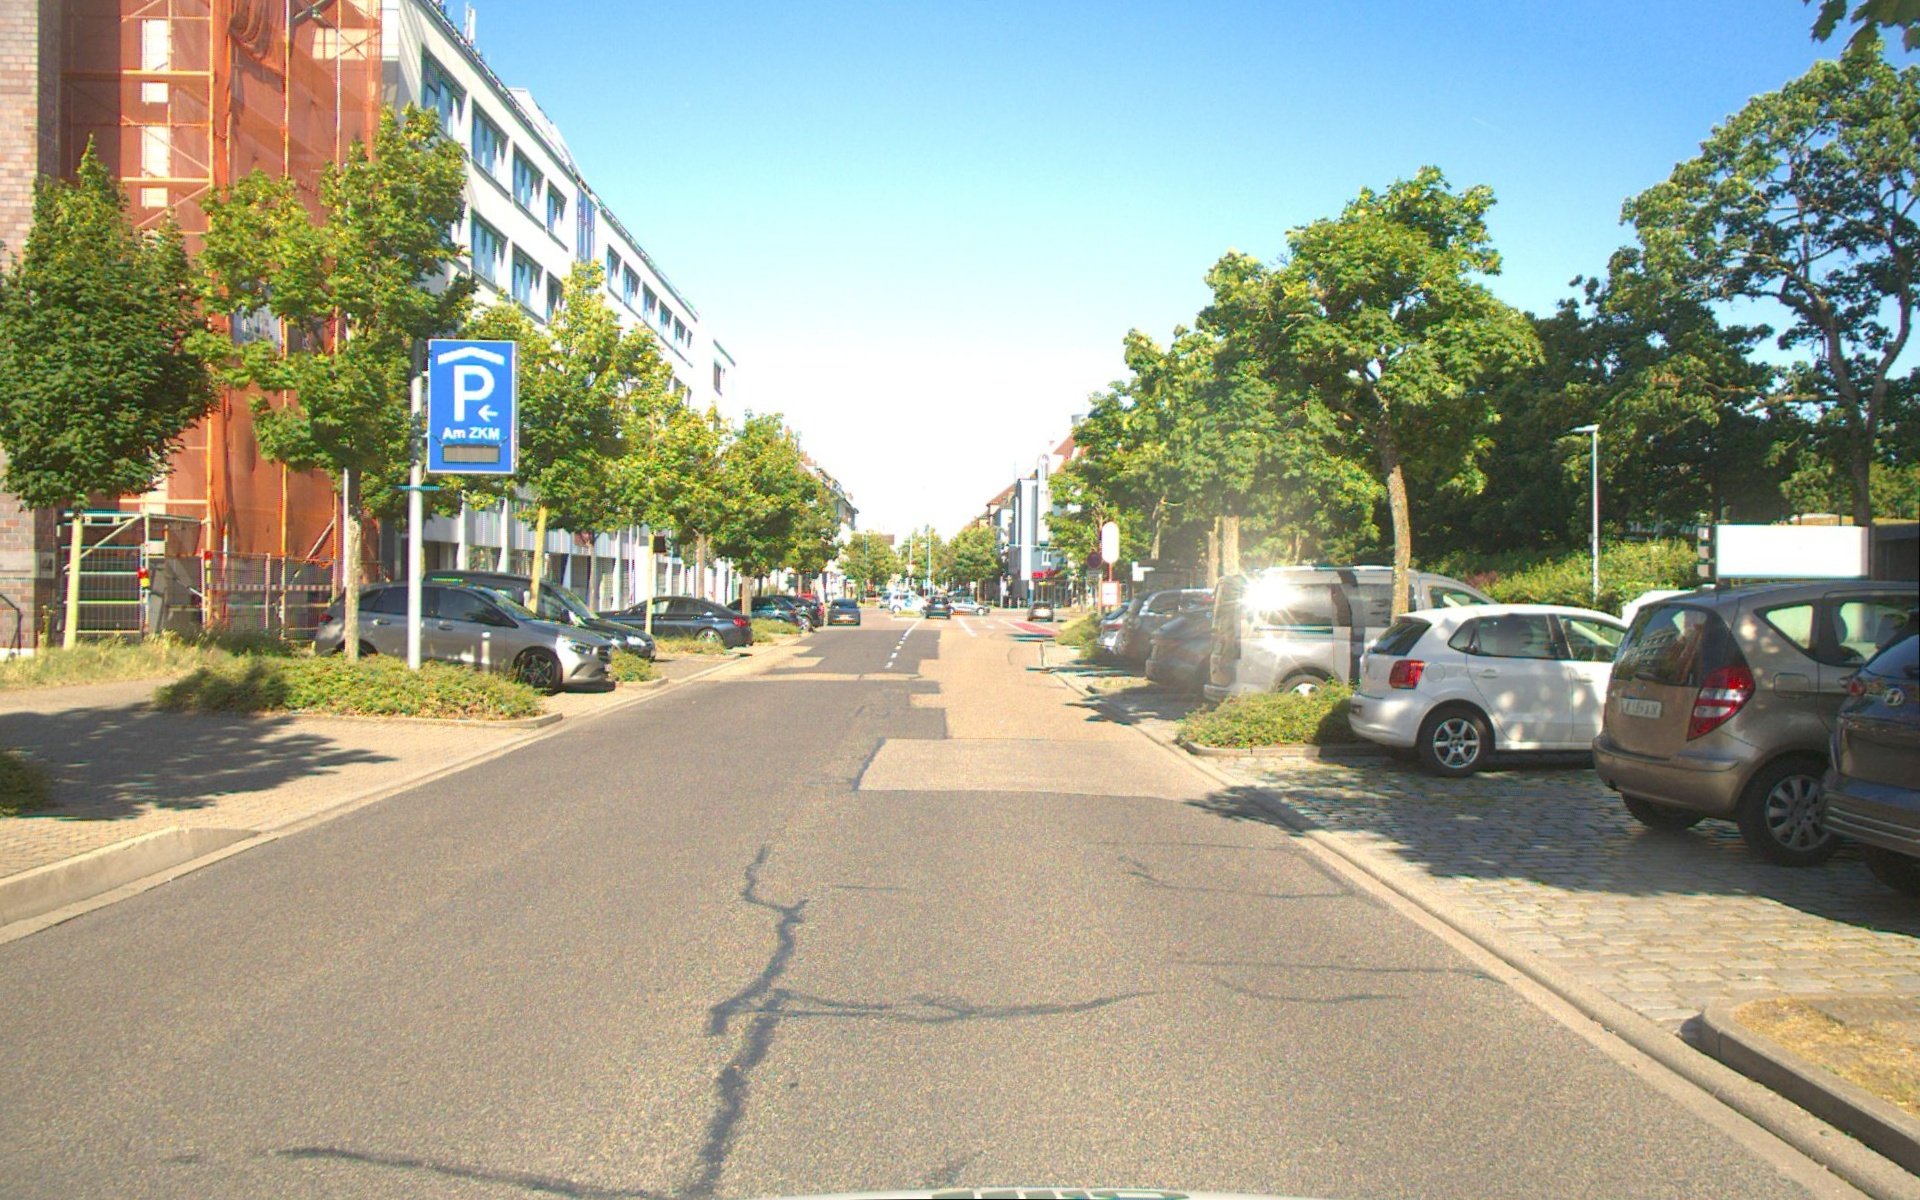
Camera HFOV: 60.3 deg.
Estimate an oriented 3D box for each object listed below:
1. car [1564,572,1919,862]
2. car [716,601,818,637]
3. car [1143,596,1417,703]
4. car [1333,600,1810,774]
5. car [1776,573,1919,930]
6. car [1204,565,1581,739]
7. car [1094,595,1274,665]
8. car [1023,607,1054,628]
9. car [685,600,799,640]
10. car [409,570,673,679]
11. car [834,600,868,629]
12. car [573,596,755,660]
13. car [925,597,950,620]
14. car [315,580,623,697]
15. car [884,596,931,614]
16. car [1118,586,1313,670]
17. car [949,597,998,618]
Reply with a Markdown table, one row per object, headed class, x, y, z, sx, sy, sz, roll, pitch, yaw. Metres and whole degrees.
| class | x | y | z | sx | sy | sz | roll | pitch | yaw |
| --- | --- | --- | --- | --- | --- | --- | --- | --- | --- |
| car | 6.053 | 0.652 | 10.229 | 3.905 | 1.610 | 2.031 | 0 | 0 | -1 |
| car | -8.349 | 0.815 | 71.697 | 4.243 | 1.500 | 1.817 | 0 | 1 | -2 |
| car | 4.710 | 0.709 | 24.790 | 3.831 | 1.500 | 1.796 | 0 | 1 | 3 |
| car | 5.453 | 0.744 | 15.086 | 3.689 | 1.485 | 1.817 | 0 | 0 | -2 |
| car | 6.160 | 0.666 | 7.607 | 3.905 | 1.565 | 1.861 | 0 | -1 | -1 |
| car | 4.884 | 0.549 | 19.037 | 3.905 | 1.912 | 1.682 | 0 | 1 | -1 |
| car | 4.910 | 0.664 | 36.609 | 3.831 | 1.500 | 1.758 | 0 | -1 | 3 |
| car | 5.823 | 1.290 | 123.397 | 1.949 | 1.500 | 4.108 | 0 | 1 | -3 |
| car | -8.528 | 0.789 | 64.901 | 4.243 | 1.500 | 1.817 | 0 | 1 | -2 |
| car | -7.449 | 0.405 | 29.665 | 4.242 | 1.894 | 1.818 | 0 | 1 | 0 |
| car | -6.065 | 0.799 | 92.190 | 1.775 | 1.500 | 4.109 | 0 | 1 | -2 |
| car | -7.276 | 0.680 | 40.975 | 4.246 | 1.500 | 1.816 | 0 | 1 | -5 |
| car | -1.603 | 0.609 | 119.319 | 1.774 | 1.500 | 4.111 | 0 | 1 | 0 |
| car | -7.361 | 0.551 | 25.062 | 4.176 | 1.694 | 1.599 | 0 | 1 | -2 |
| car | -4.492 | 0.456 | 141.273 | 4.014 | 1.500 | 1.817 | 0 | 1 | -2 |
| car | 5.226 | 0.550 | 34.264 | 3.831 | 1.671 | 1.878 | 0 | 1 | 3 |
| car | 1.131 | 0.610 | 137.056 | 3.910 | 1.588 | 1.998 | 0 | 1 | -6 |
